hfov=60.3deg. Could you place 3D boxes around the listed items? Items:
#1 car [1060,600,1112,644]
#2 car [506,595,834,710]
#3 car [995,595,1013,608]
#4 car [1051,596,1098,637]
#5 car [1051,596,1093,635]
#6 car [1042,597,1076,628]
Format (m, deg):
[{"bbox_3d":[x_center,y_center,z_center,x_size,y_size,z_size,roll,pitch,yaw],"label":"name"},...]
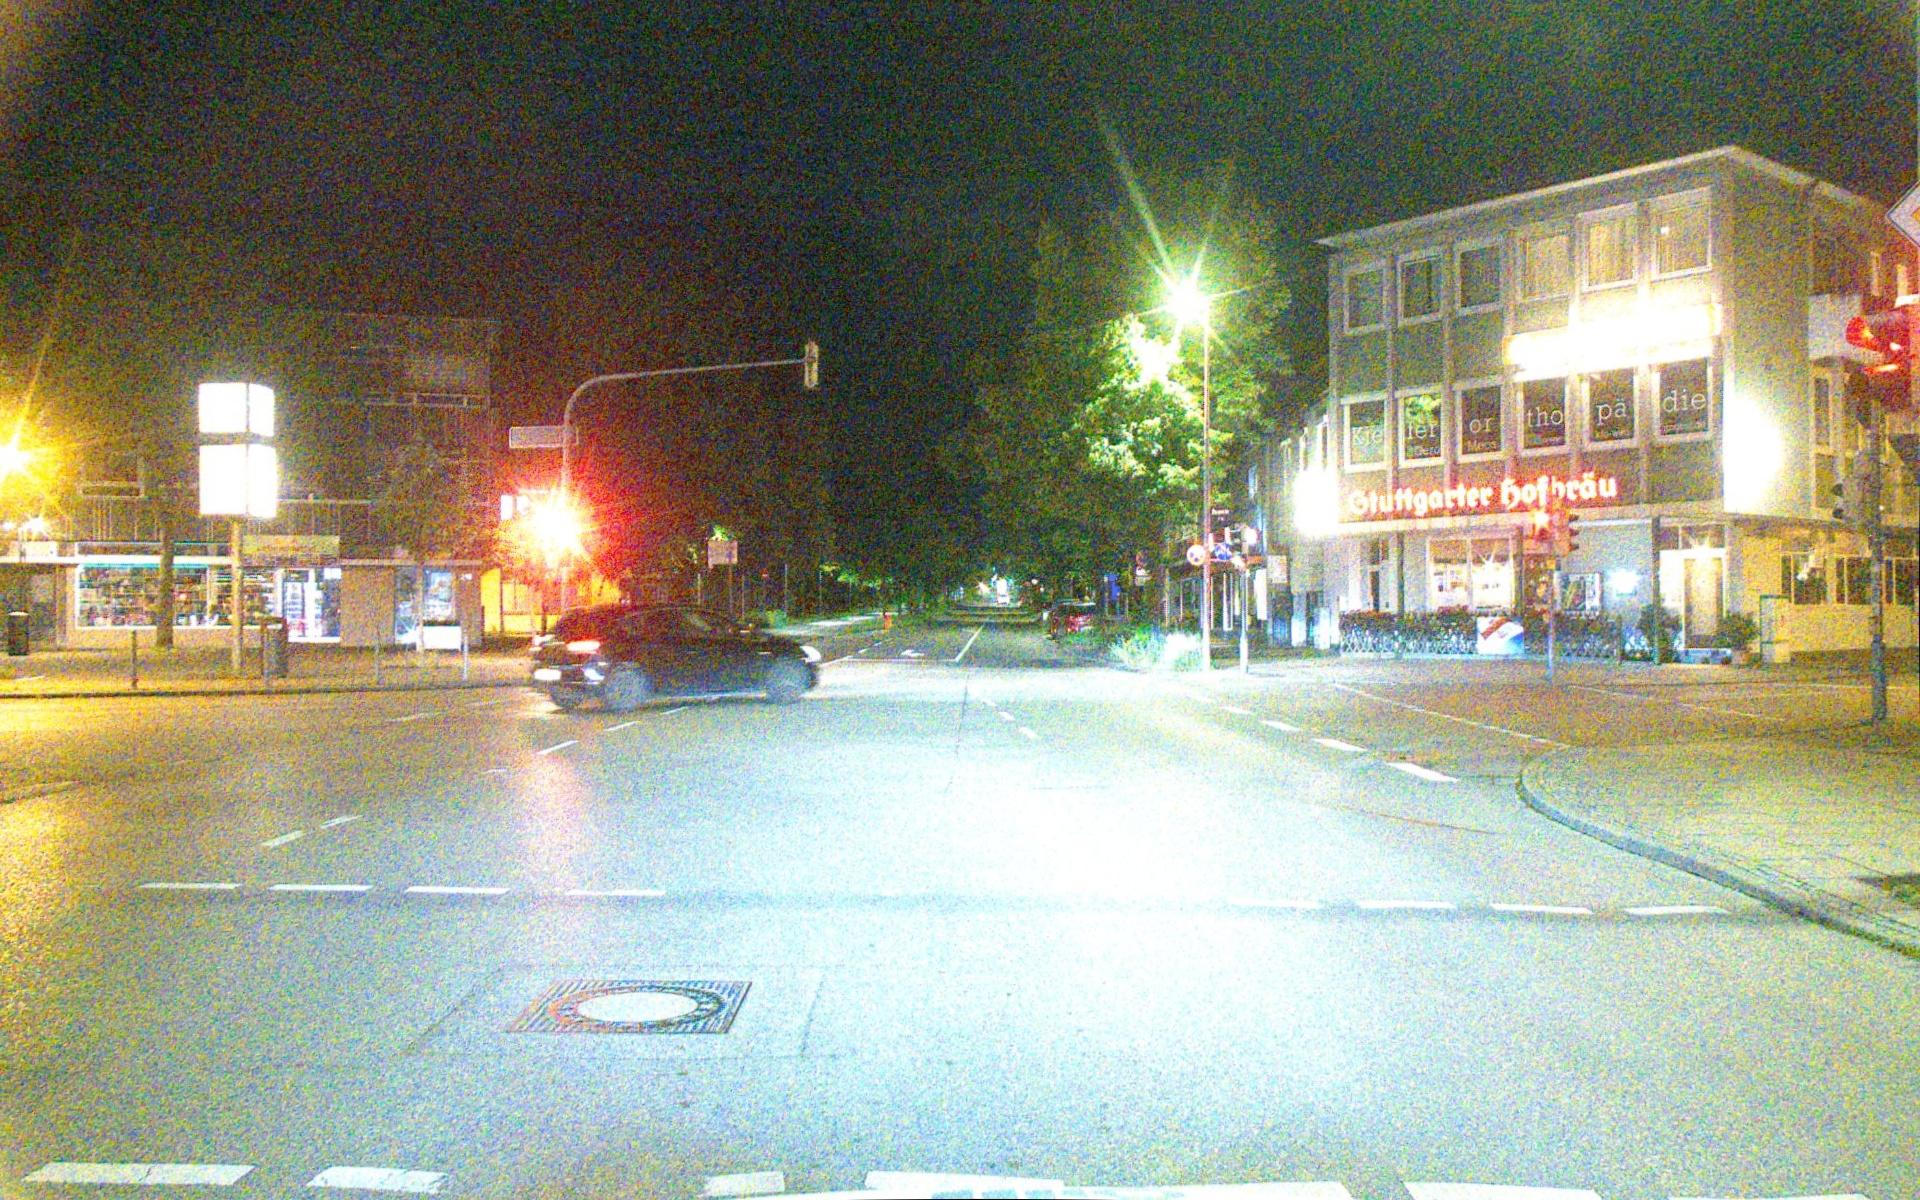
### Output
[{"bbox_3d":[4.798,0.834,63.546,1.837,1.643,4.001,0,0,2],"label":"car"},{"bbox_3d":[-4.037,0.706,23.443,4.281,1.479,1.850,1,0,-43],"label":"car"},{"bbox_3d":[5.828,0.150,218.100,2.182,1.680,3.999,0,0,-1],"label":"car"},{"bbox_3d":[4.731,0.681,68.862,1.837,1.643,4.001,0,0,2],"label":"car"},{"bbox_3d":[5.155,0.711,76.539,1.837,1.759,4.001,0,0,2],"label":"car"},{"bbox_3d":[5.660,0.698,94.603,1.837,1.713,4.001,0,0,2],"label":"car"}]
